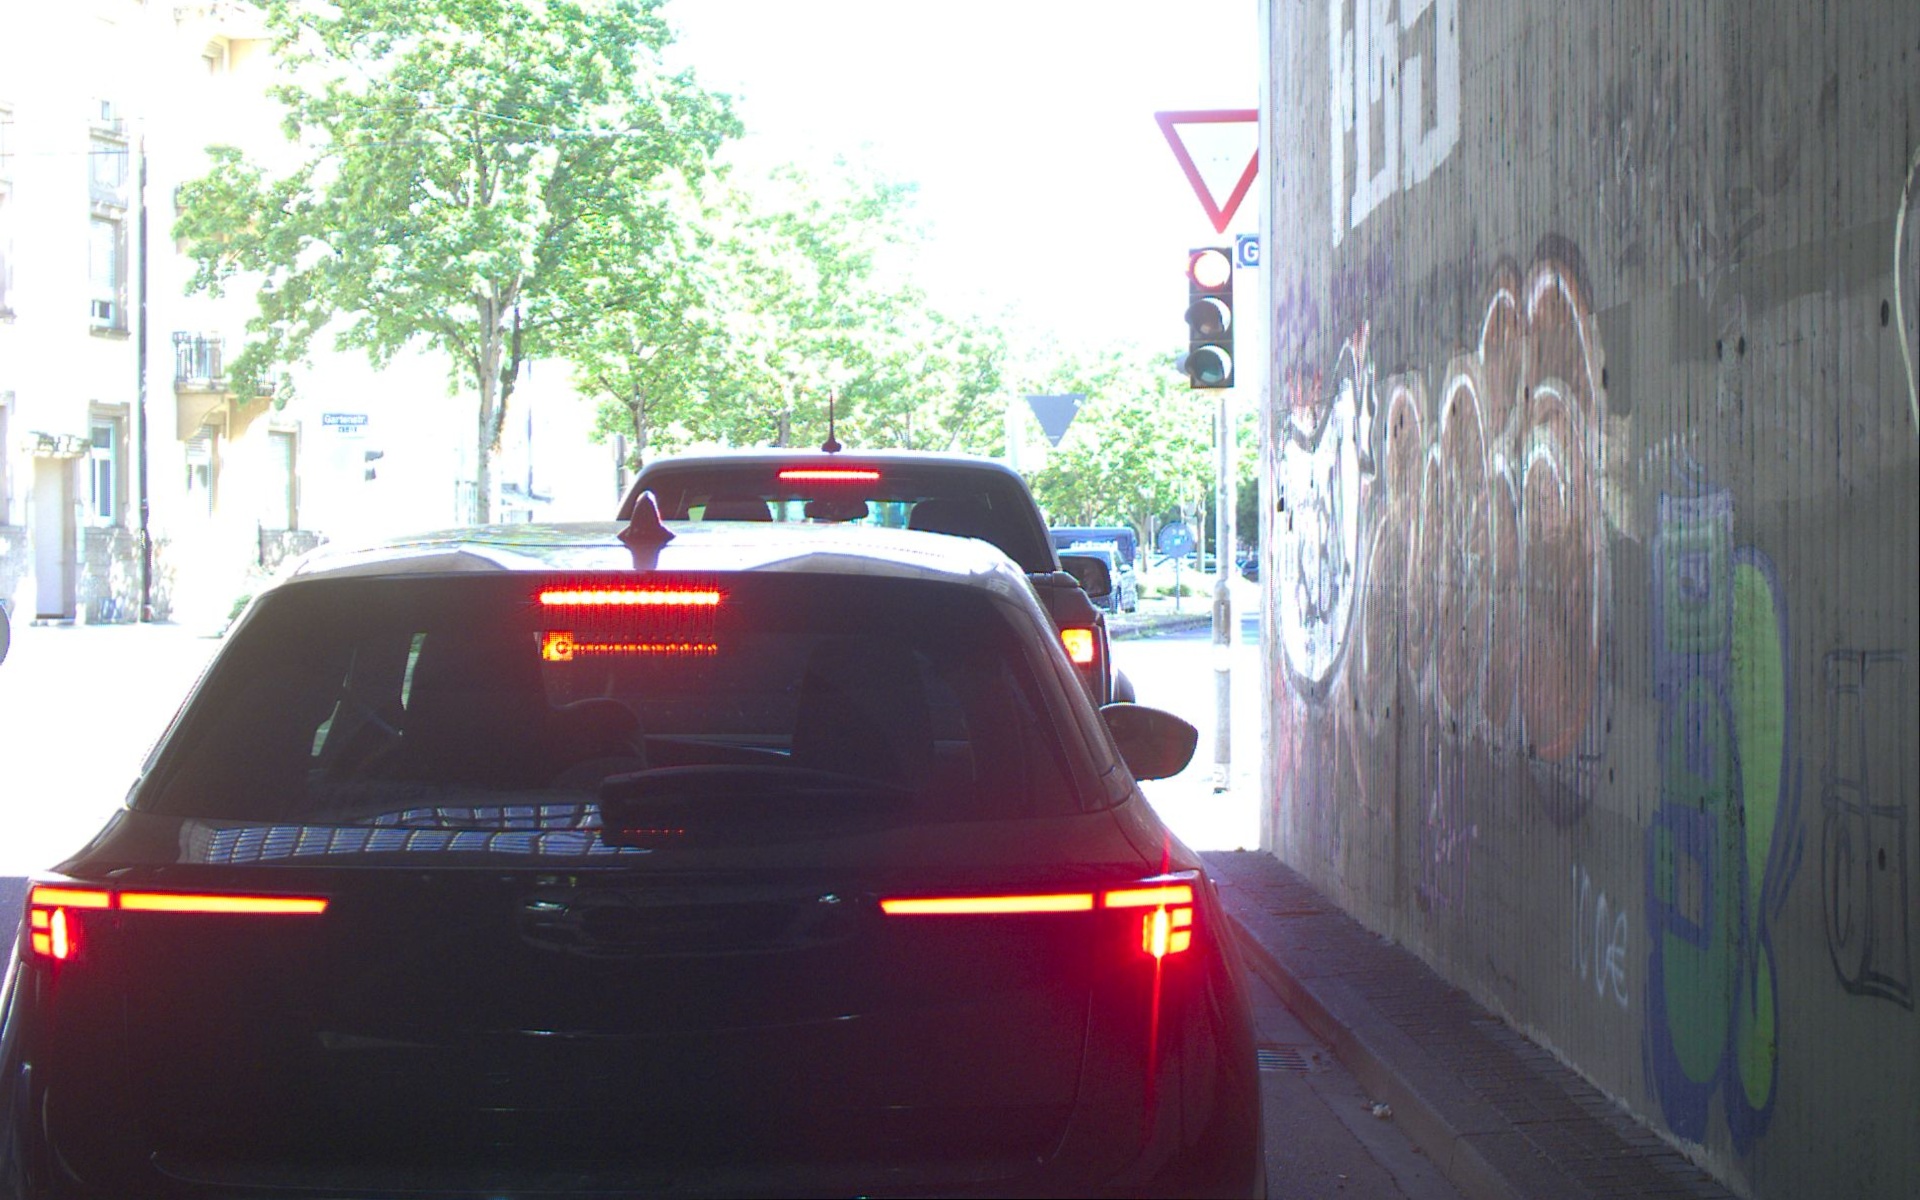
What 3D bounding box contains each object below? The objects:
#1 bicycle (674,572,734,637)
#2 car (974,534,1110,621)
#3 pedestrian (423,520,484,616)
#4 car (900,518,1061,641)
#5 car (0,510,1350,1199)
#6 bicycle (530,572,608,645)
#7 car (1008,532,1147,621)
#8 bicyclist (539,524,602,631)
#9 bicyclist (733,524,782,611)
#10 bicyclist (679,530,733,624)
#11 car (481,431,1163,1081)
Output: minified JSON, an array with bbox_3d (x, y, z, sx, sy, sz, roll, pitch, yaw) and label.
[{"bbox_3d":[-4.336,0.067,58.311,0.626,1.064,1.688,1,1,9],"label":"bicycle"},{"bbox_3d":[1.513,-0.385,62.190,1.969,1.492,3.895,0,-1,9],"label":"car"},{"bbox_3d":[-10.664,-0.677,72.381,0.992,2.007,1.088,0,1,8],"label":"pedestrian"},{"bbox_3d":[0.300,-0.232,44.168,1.968,1.492,3.896,0,-1,1],"label":"car"},{"bbox_3d":[-0.499,0.630,6.065,1.882,1.532,3.964,-1,1,-1],"label":"car"},{"bbox_3d":[-5.852,0.115,51.512,0.732,1.064,1.688,1,1,9],"label":"bicycle"},{"bbox_3d":[2.400,-0.442,68.999,2.221,1.713,4.458,0,-1,10],"label":"car"},{"bbox_3d":[-5.835,-0.341,51.537,0.729,1.576,0.814,1,0,9],"label":"bicyclist"},{"bbox_3d":[-3.707,-0.600,63.056,0.729,1.576,0.814,1,0,9],"label":"bicyclist"},{"bbox_3d":[-4.310,-0.389,58.295,0.729,1.576,0.814,1,0,9],"label":"bicyclist"},{"bbox_3d":[-0.418,0.413,11.886,1.945,1.853,3.964,-1,1,-1],"label":"car"}]
